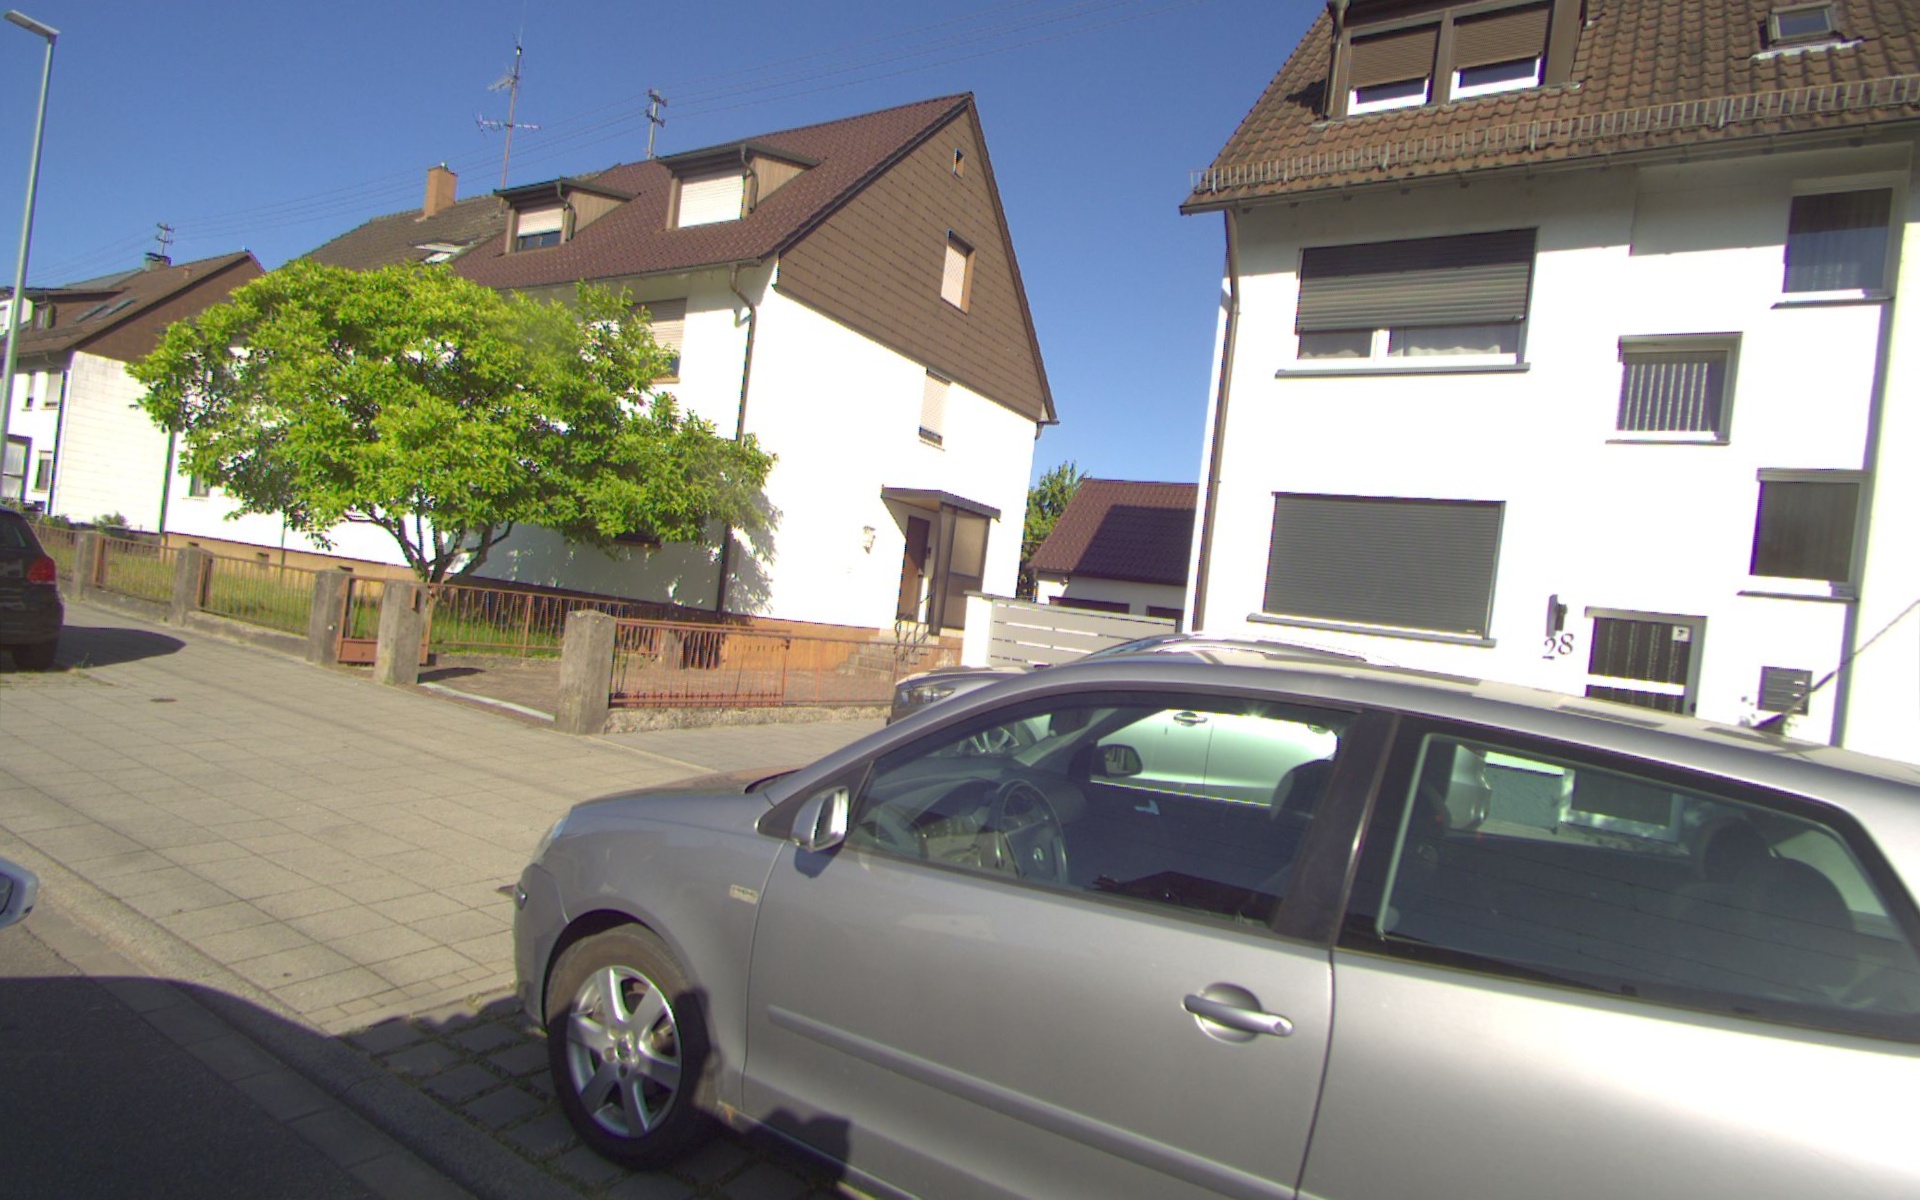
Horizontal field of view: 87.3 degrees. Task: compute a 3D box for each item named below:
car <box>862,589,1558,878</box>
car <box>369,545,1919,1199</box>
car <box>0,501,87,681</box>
[{"bbox_3d":[1.820,0.942,8.254,4.789,1.463,2.000,7,0,7],"label":"car"},{"bbox_3d":[0.585,0.840,2.584,4.375,1.493,1.618,6,-1,31],"label":"car"},{"bbox_3d":[-9.746,-0.274,9.067,4.058,1.471,1.673,6,0,33],"label":"car"}]
